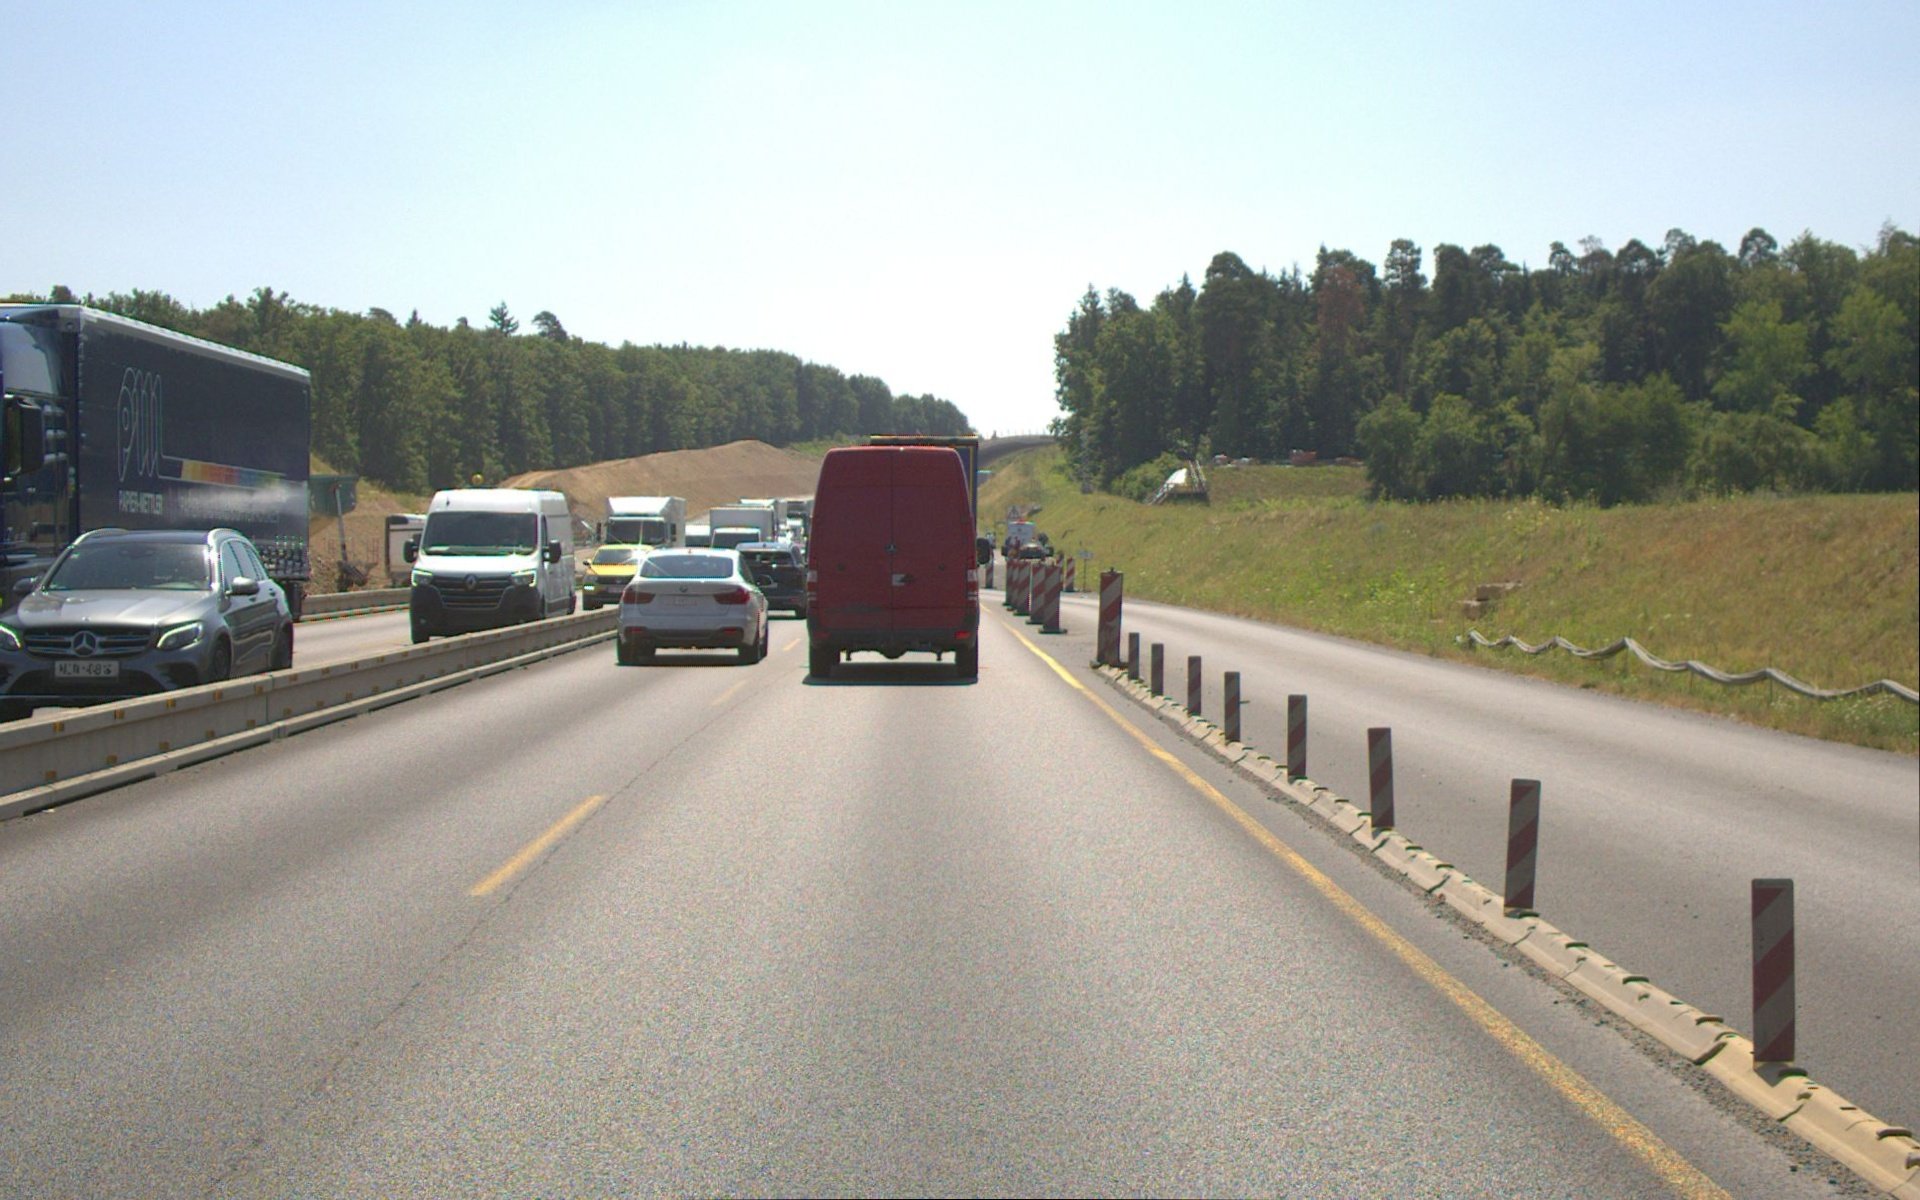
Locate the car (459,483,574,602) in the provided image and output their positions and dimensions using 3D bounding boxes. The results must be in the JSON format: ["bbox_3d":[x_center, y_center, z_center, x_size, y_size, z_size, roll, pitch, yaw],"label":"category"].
[{"bbox_3d":[-11.418,-1.459,88.865,2.251,2.945,5.849,1,1,-1],"label":"car"}]

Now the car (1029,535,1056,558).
[{"bbox_3d":[5.522,-3.584,230.914,1.654,1.422,4.545,-2,2,0],"label":"car"}]

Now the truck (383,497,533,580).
[{"bbox_3d":[-19.062,-2.298,130.594,5.044,2.954,2.587,2,0,-25],"label":"truck"}]

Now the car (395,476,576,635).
[{"bbox_3d":[-7.405,-0.743,54.218,2.035,2.335,6.196,1,2,-1],"label":"car"}]

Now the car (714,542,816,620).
[{"bbox_3d":[-4.116,-0.430,73.111,1.967,1.536,4.311,1,2,-1],"label":"car"}]

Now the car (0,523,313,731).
[{"bbox_3d":[-6.952,0.182,29.635,1.868,1.623,4.885,1,1,-1],"label":"car"}]

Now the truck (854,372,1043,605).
[{"bbox_3d":[-0.359,-2.727,89.777,4.400,5.477,16.604,1,1,-1],"label":"truck"}]

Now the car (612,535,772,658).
[{"bbox_3d":[-3.482,-0.066,45.283,1.831,1.517,3.961,1,1,-1],"label":"car"}]

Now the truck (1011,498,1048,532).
[{"bbox_3d":[5.035,-6.161,248.854,2.130,2.448,5.924,1,2,6],"label":"truck"}]

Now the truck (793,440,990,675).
[{"bbox_3d":[-0.788,-0.499,40.881,2.153,2.581,5.333,1,1,-1],"label":"truck"}]

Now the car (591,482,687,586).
[{"bbox_3d":[-11.974,-2.507,129.016,2.908,3.727,8.091,1,1,-1],"label":"car"}]

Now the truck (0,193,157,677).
[{"bbox_3d":[-10.622,-1.630,36.002,2.965,4.636,6.244,1,0,-1],"label":"truck"}]

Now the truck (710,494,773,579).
[{"bbox_3d":[-8.345,-2.397,131.645,2.271,3.139,7.315,1,1,-3],"label":"truck"}]

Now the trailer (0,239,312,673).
[{"bbox_3d":[-10.741,-1.603,42.842,2.985,4.580,12.885,1,1,-1],"label":"trailer"}]

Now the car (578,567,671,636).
[{"bbox_3d":[-7.999,0.010,82.315,1.762,1.568,4.362,1,1,0],"label":"car"}]

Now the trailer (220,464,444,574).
[{"bbox_3d":[-24.013,-3.091,131.422,8.354,4.084,2.796,1,1,26],"label":"trailer"}]
